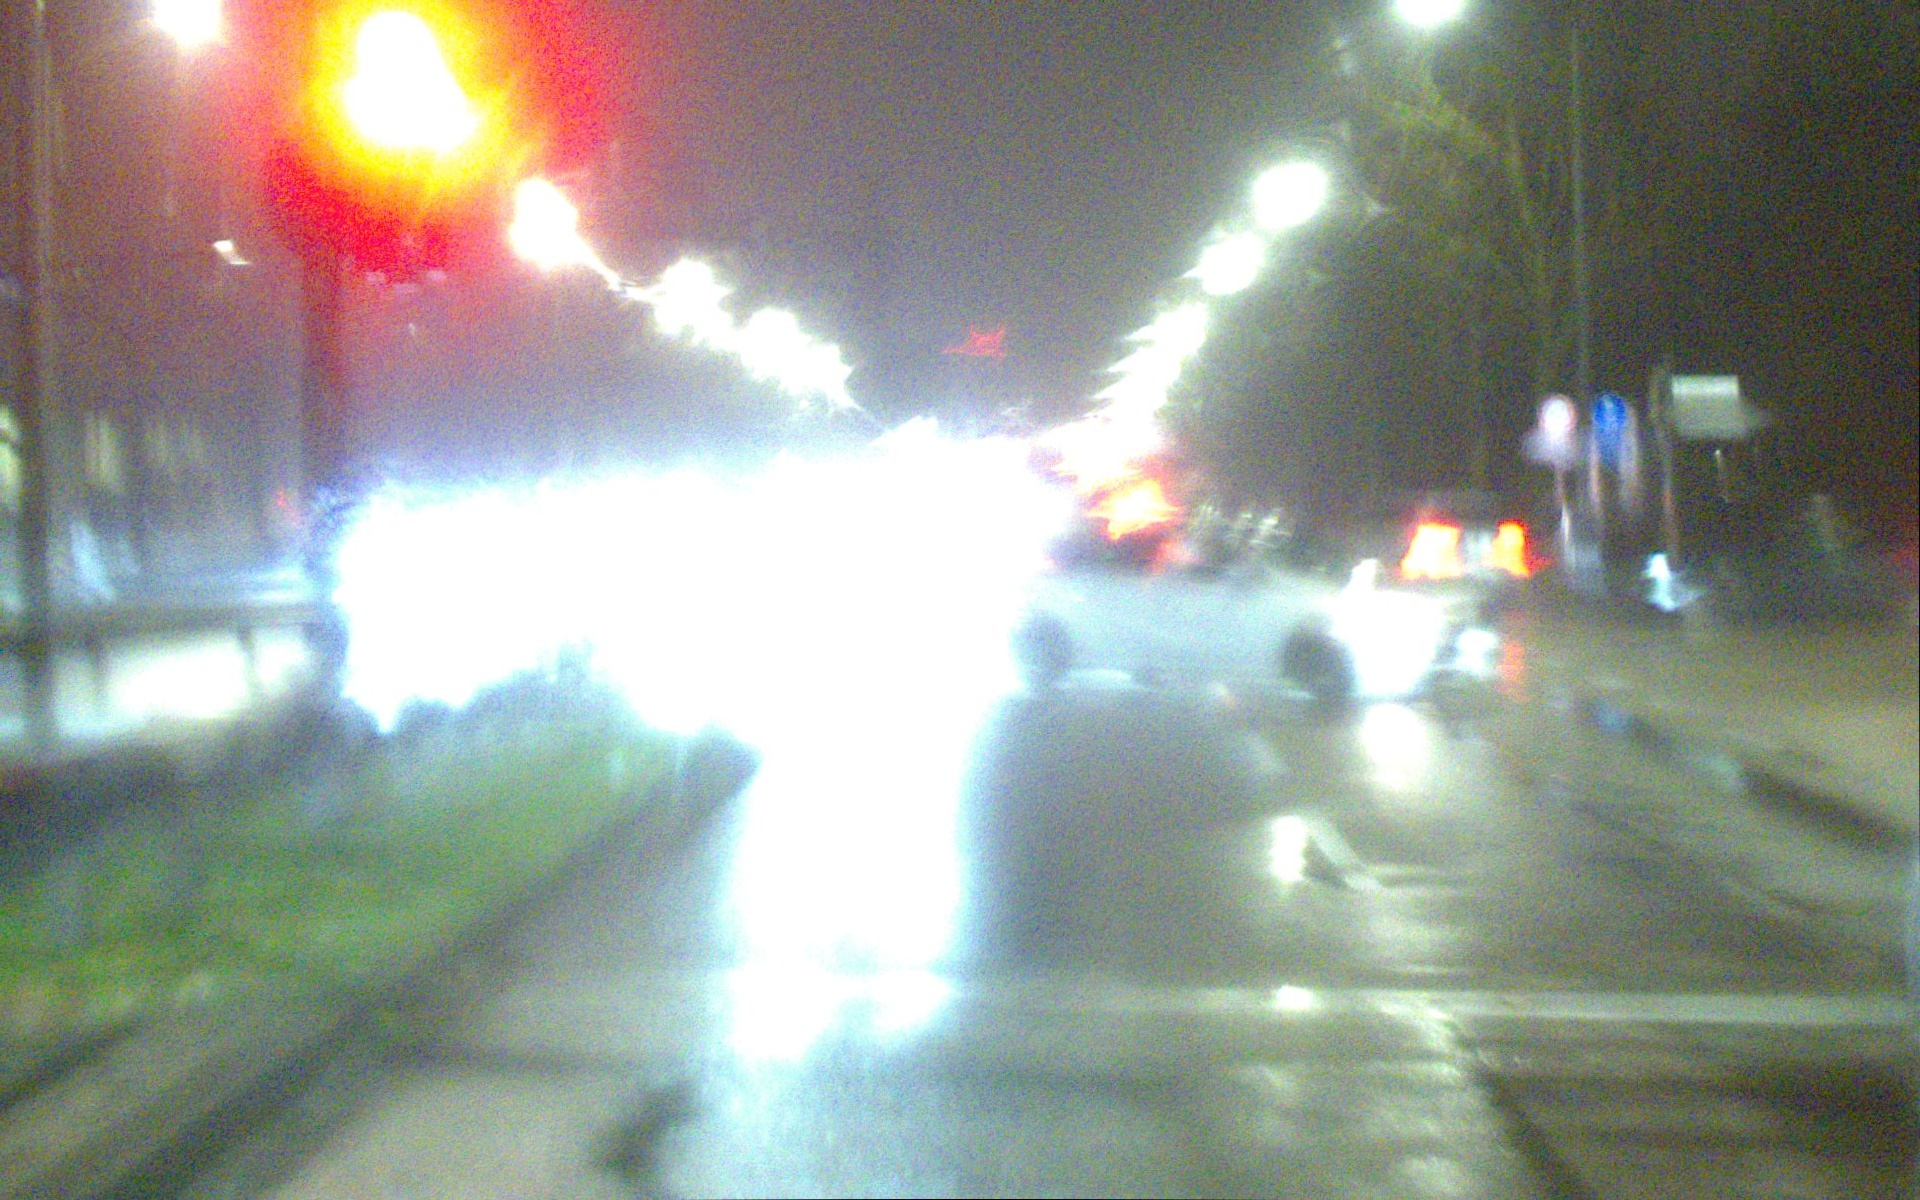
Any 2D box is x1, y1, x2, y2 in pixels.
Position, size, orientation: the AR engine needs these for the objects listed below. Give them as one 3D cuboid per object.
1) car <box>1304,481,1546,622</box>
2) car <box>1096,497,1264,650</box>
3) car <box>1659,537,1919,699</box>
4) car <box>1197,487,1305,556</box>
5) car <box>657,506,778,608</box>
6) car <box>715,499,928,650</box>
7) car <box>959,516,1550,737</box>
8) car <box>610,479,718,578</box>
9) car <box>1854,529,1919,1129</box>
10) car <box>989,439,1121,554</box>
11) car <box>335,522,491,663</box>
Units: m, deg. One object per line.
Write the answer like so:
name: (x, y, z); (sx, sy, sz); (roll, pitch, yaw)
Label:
car: (6.876, -0.711, 51.328); (2.038, 2.007, 4.308); (0, 1, -16)
car: (2.985, -0.369, 47.472); (2.038, 2.007, 4.307); (0, 1, 0)
car: (10.274, 0.183, 39.039); (4.297, 1.779, 2.043); (1, 1, 21)
car: (6.708, -1.797, 79.650); (2.091, 1.540, 4.307); (0, 1, -1)
car: (-4.017, -0.707, 56.740); (1.901, 1.612, 4.515); (0, 1, -4)
car: (-1.690, -0.311, 40.258); (1.834, 1.665, 4.464); (0, 1, -11)
car: (2.312, 0.164, 27.585); (4.423, 1.644, 1.833); (1, 1, 37)
car: (-6.172, -1.472, 71.915); (1.699, 2.007, 3.567); (0, 1, 4)
car: (3.121, 0.555, 6.577); (1.720, 1.441, 4.383); (-1, 1, 1)
car: (1.839, -2.014, 68.521); (2.441, 2.186, 5.079); (0, 1, -1)
car: (-7.029, -0.114, 43.938); (1.717, 1.728, 3.766); (0, 1, -13)
